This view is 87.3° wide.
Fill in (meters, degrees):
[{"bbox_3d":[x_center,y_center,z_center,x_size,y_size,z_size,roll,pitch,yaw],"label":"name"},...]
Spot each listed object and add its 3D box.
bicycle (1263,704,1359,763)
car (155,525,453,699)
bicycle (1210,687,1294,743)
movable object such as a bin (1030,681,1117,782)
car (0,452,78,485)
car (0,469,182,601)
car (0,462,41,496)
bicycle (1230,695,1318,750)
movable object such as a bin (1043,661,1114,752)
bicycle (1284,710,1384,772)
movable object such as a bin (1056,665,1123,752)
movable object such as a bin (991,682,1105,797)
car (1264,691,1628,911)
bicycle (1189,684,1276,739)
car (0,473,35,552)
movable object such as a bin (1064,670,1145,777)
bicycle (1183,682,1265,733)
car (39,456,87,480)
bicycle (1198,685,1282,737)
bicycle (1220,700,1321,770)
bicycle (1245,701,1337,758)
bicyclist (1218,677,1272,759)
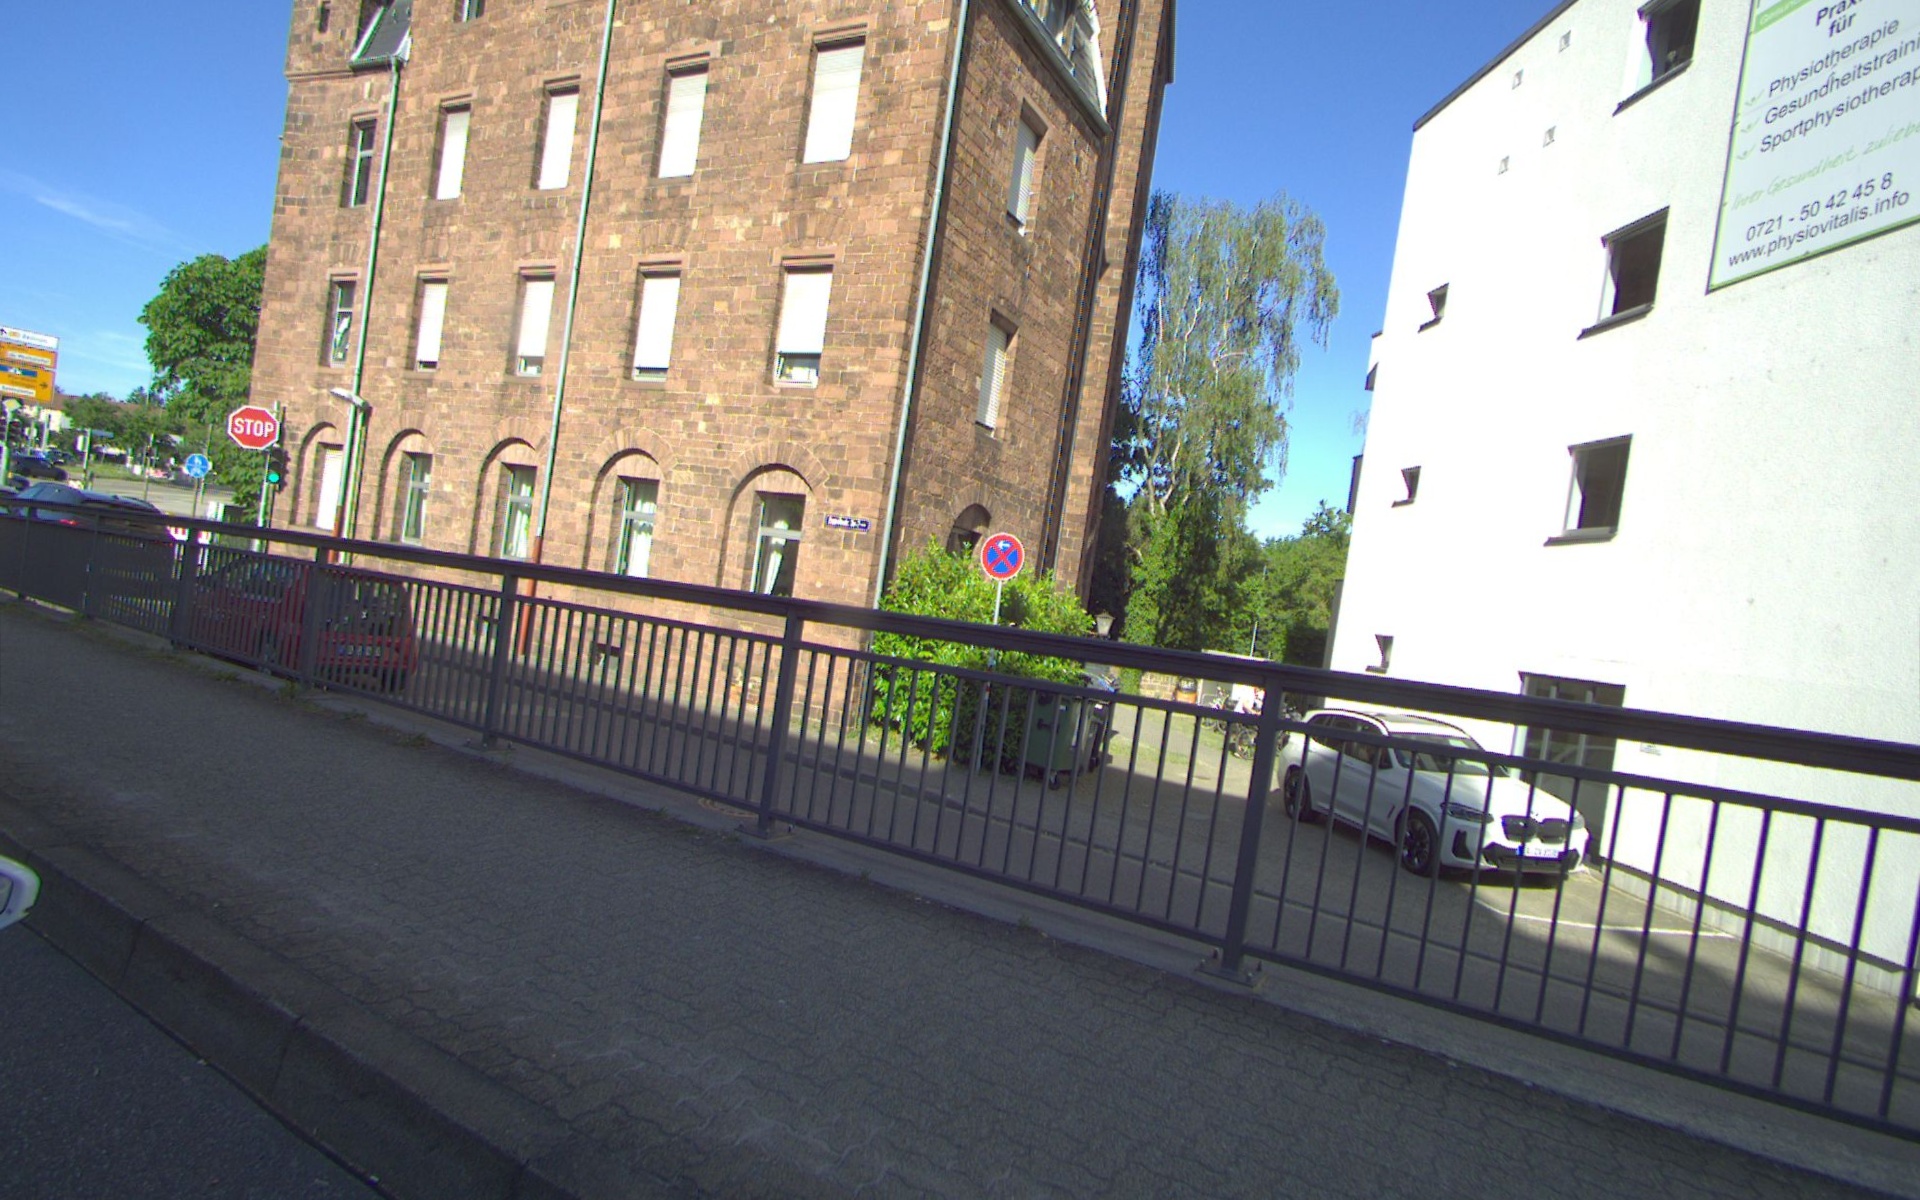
[{"bbox_3d":[8.132,3.091,23.364,1.889,1.065,0.664,8,1,-6],"label":"bicycle"},{"bbox_3d":[-8.289,0.135,12.664,3.427,1.540,1.724,10,1,32],"label":"car"},{"bbox_3d":[7.671,3.021,26.447,1.889,1.174,0.664,8,1,-6],"label":"bicycle"},{"bbox_3d":[1.762,1.997,15.481,1.009,1.307,1.007,10,0,14],"label":"movable object such as a bin"},{"bbox_3d":[-61.042,-8.703,66.043,1.962,1.459,4.294,9,1,14],"label":"car"},{"bbox_3d":[-16.555,-1.266,18.861,4.228,1.833,1.724,10,0,34],"label":"car"},{"bbox_3d":[-43.432,-5.570,44.035,4.174,1.311,1.989,8,2,-21],"label":"car"},{"bbox_3d":[7.872,3.079,25.279,1.889,1.065,0.664,8,1,-6],"label":"bicycle"},{"bbox_3d":[2.287,2.015,19.269,1.009,1.539,1.007,10,0,14],"label":"movable object such as a bin"},{"bbox_3d":[8.336,3.136,22.449,1.889,1.065,0.664,8,1,-6],"label":"bicycle"},{"bbox_3d":[2.648,2.180,20.458,1.009,1.539,1.007,10,0,14],"label":"movable object such as a bin"},{"bbox_3d":[1.194,1.850,13.519,1.011,1.307,1.005,10,0,29],"label":"movable object such as a bin"},{"bbox_3d":[5.971,2.403,13.138,1.814,1.707,4.521,8,0,-9],"label":"car"},{"bbox_3d":[7.410,3.023,27.380,2.075,1.174,0.664,8,1,-9],"label":"bicycle"},{"bbox_3d":[-24.212,-2.326,24.682,4.236,1.623,1.720,10,1,42],"label":"car"},{"bbox_3d":[2.403,2.014,16.662,1.009,1.539,1.007,10,0,14],"label":"movable object such as a bin"},{"bbox_3d":[7.668,3.131,29.265,2.075,1.174,0.664,8,1,-9],"label":"bicycle"},{"bbox_3d":[-82.300,-12.120,92.357,1.860,1.598,3.978,8,1,-22],"label":"car"},{"bbox_3d":[7.911,3.130,28.412,2.075,1.174,0.664,8,1,-9],"label":"bicycle"},{"bbox_3d":[6.589,2.860,21.402,1.807,1.155,0.688,8,2,-7],"label":"bicycle"},{"bbox_3d":[7.977,3.111,24.252,1.889,1.065,0.664,8,1,-6],"label":"bicycle"},{"bbox_3d":[6.228,2.570,21.998,0.685,1.627,0.687,9,0,-7],"label":"bicyclist"}]
